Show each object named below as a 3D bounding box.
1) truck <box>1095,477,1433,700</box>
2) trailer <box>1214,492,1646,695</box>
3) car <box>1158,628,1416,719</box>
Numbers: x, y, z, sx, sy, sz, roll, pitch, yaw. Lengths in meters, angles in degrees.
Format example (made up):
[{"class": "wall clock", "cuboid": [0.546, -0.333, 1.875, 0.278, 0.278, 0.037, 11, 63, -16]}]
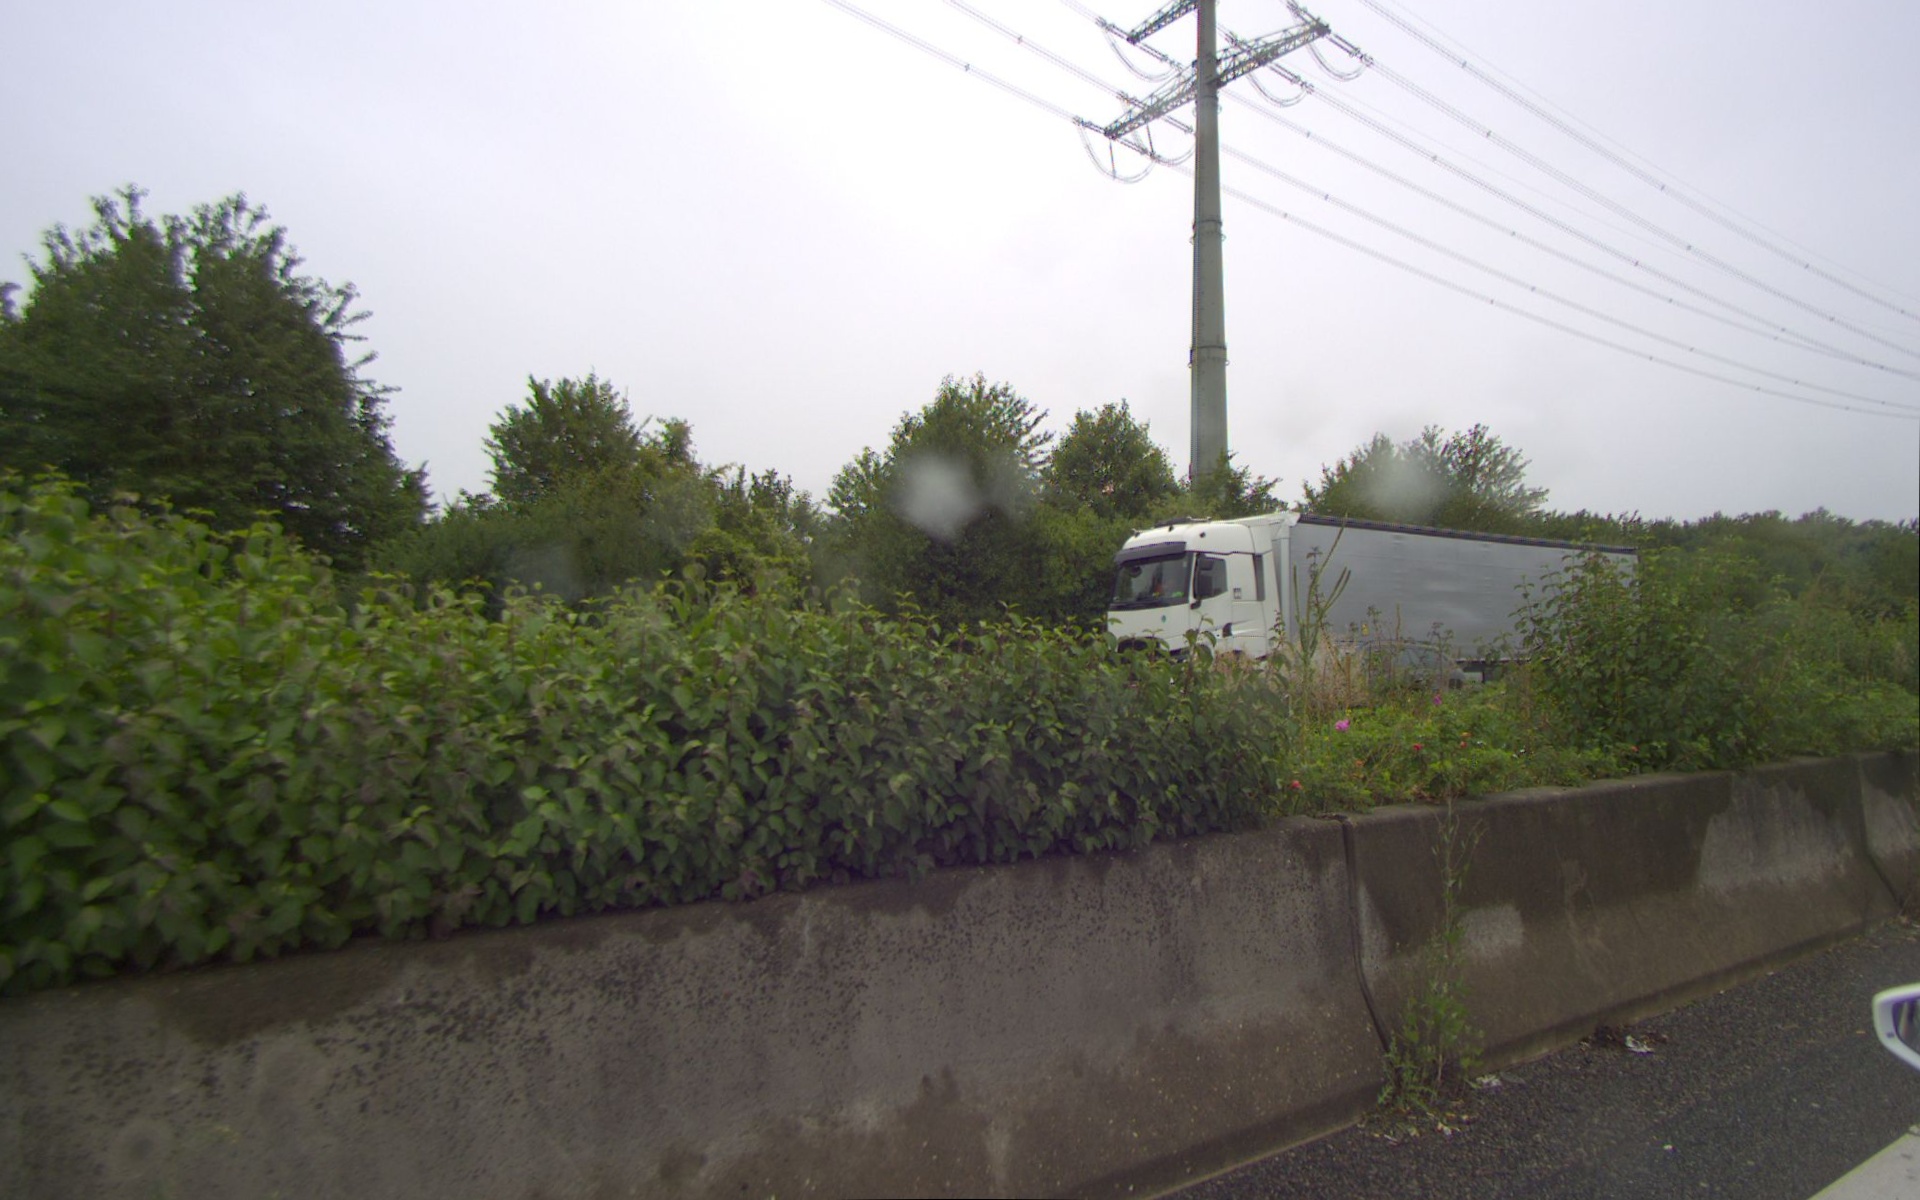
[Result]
[{"class": "truck", "cuboid": [6.568, -0.060, 21.385, 7.151, 4.076, 2.772, 1, -4, -31]}, {"class": "trailer", "cuboid": [12.006, 0.080, 24.683, 13.100, 4.076, 2.772, 1, -4, -31]}, {"class": "car", "cuboid": [5.188, 1.090, 15.813, 3.953, 1.224, 1.667, 1, -1, -30]}]
